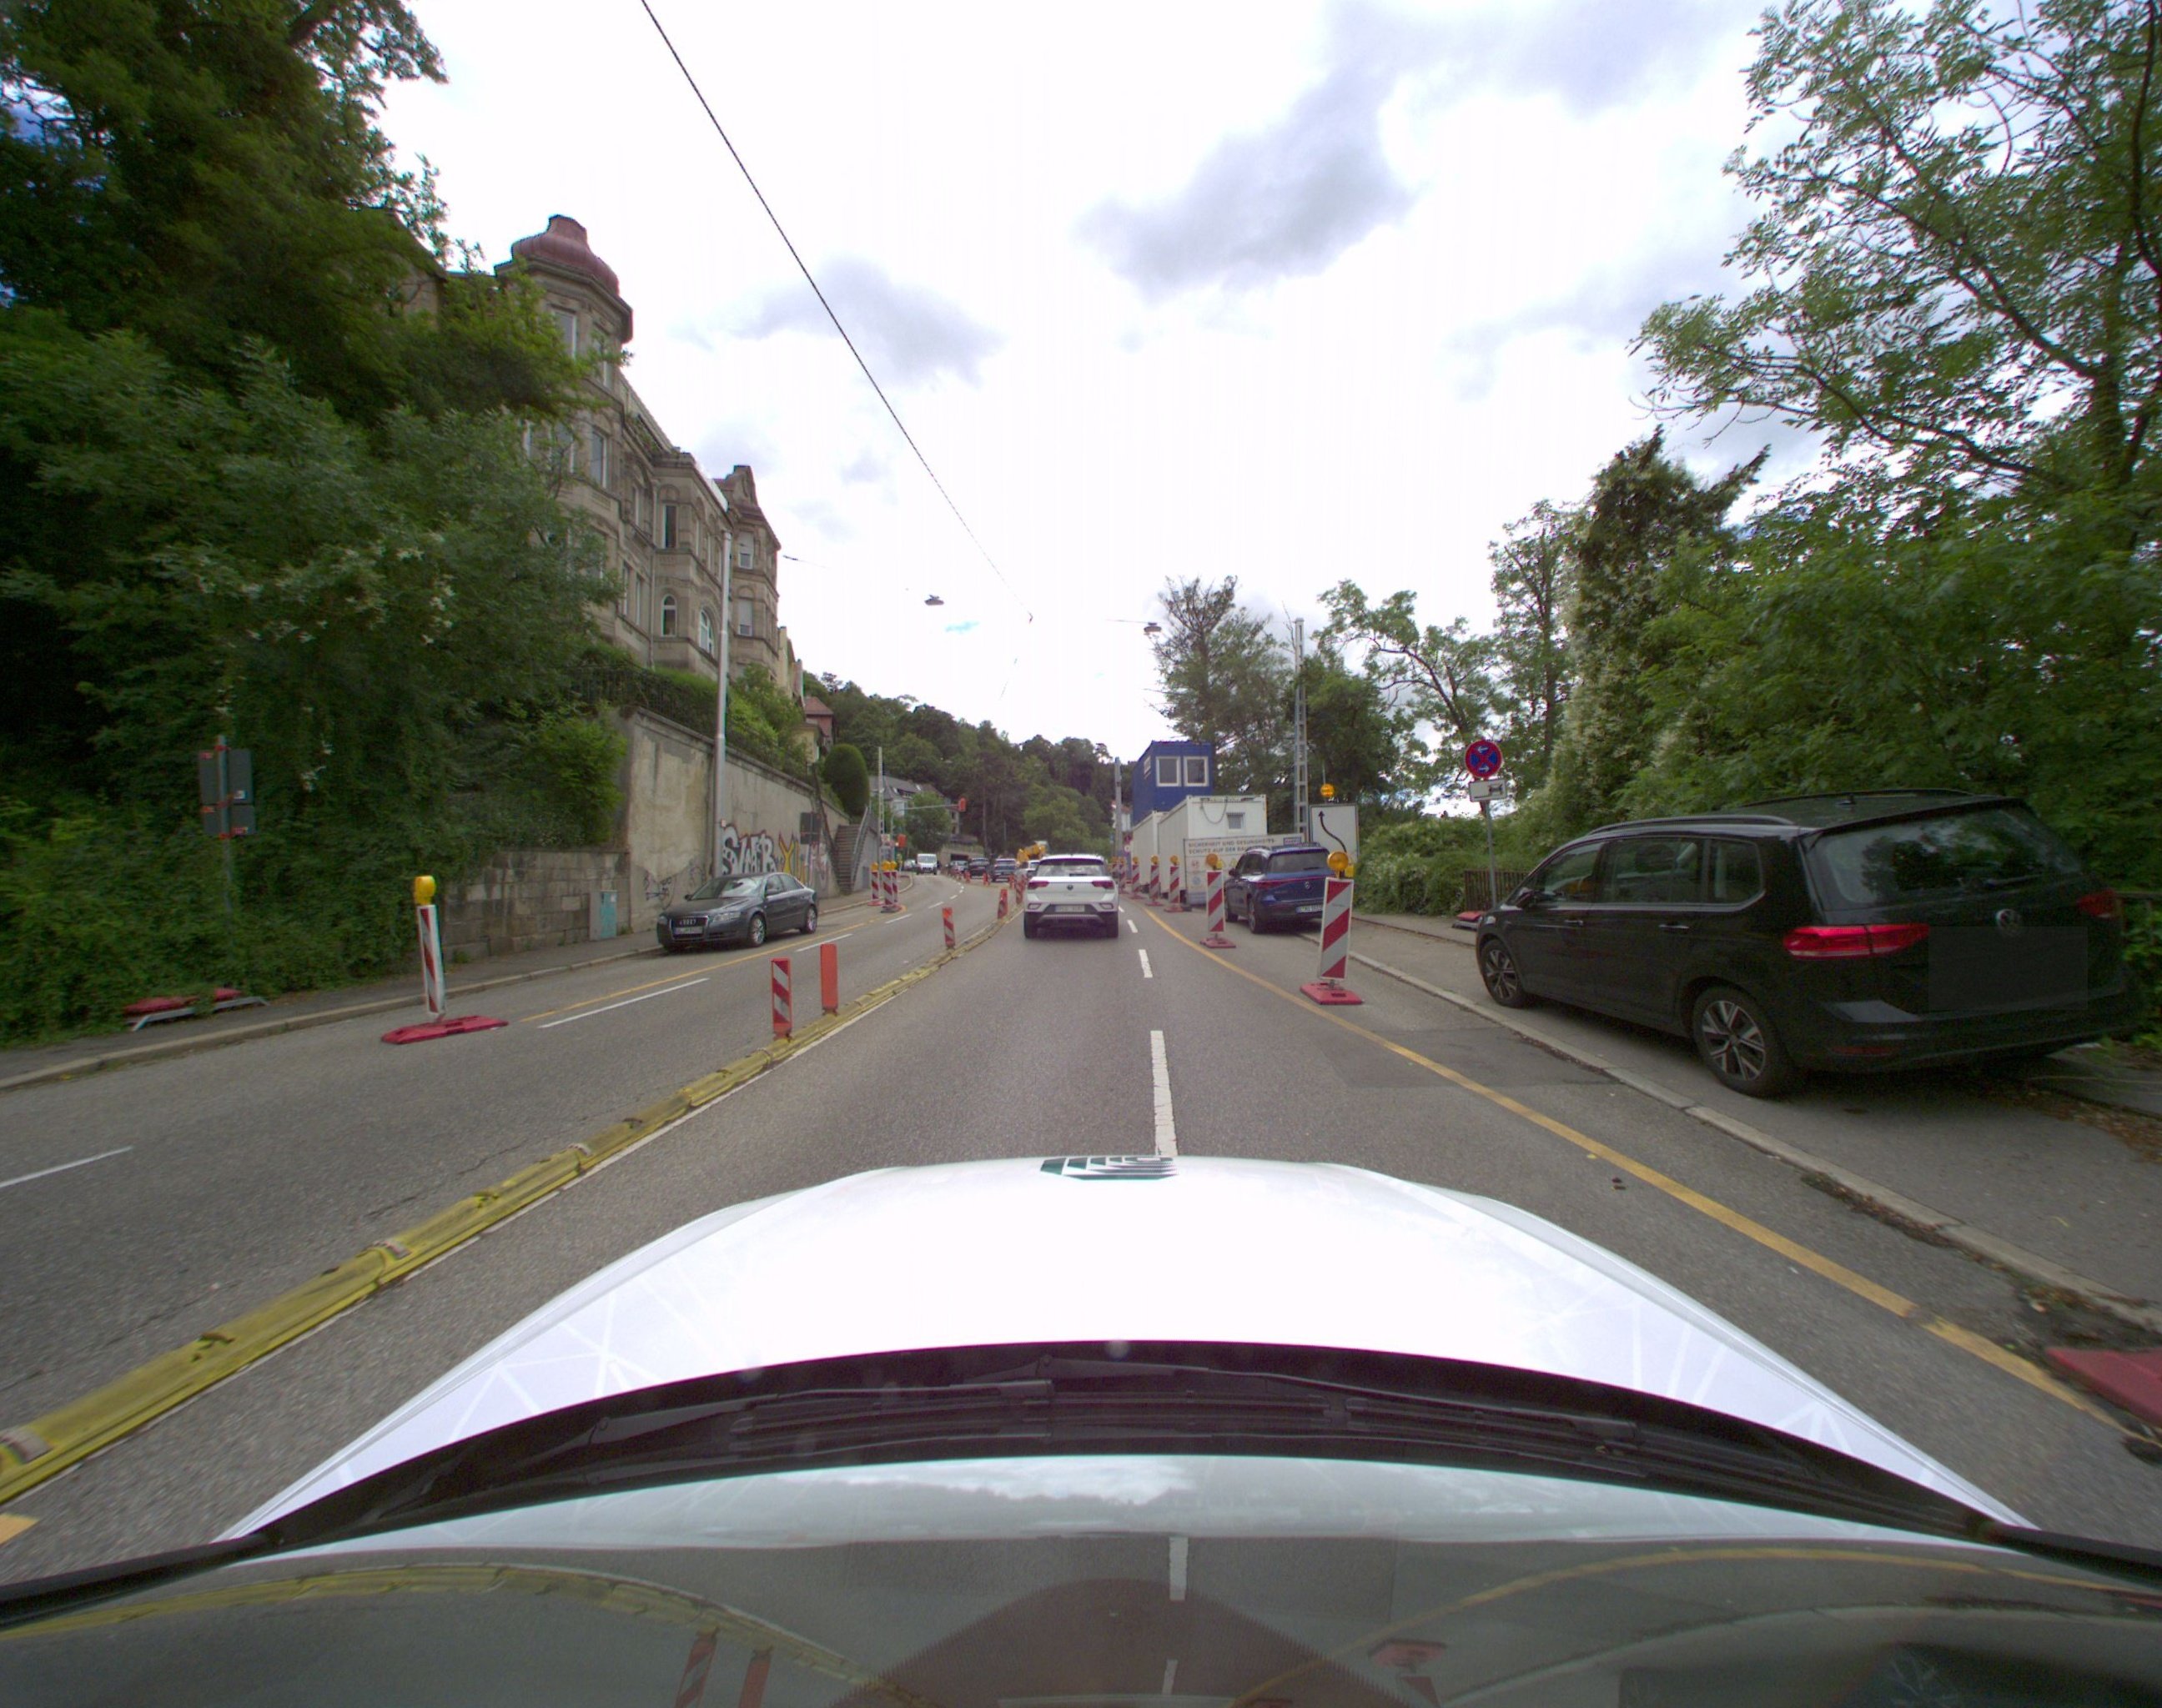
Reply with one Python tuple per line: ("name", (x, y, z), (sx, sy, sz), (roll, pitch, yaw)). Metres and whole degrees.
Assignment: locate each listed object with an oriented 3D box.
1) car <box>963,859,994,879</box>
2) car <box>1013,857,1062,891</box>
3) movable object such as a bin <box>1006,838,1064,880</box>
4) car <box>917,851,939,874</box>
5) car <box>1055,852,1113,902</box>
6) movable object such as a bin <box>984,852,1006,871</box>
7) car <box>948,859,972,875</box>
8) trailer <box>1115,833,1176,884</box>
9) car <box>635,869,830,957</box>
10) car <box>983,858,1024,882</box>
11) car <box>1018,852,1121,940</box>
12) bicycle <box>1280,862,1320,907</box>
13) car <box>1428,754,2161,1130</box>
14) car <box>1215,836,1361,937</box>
("car", (-8.347, 1.217, 65.988), (1.799, 1.510, 3.977), (-3, 0, -17))
("car", (-2.374, 1.049, 43.763), (1.813, 1.663, 3.980), (-1, 0, -15))
("movable object such as a bin", (-3.742, 0.387, 63.823), (2.818, 3.071, 7.777), (1, -1, -17))
("car", (-15.829, 0.892, 84.123), (2.068, 2.187, 4.944), (-2, 0, -11))
("car", (0.040, 0.795, 29.632), (1.806, 1.663, 3.994), (-1, 0, -4))
("movable object such as a bin", (-12.231, 1.011, 116.322), (2.202, 2.663, 4.950), (0, 0, 4))
("car", (-12.114, 1.311, 81.331), (1.799, 1.510, 3.977), (-3, 0, -17))
("trailer", (3.447, 0.237, 44.545), (2.106, 2.550, 5.102), (-2, 0, -9))
("car", (-6.801, 1.078, 16.507), (1.791, 1.373, 4.392), (-3, 0, 3))
("car", (-5.236, 1.048, 54.556), (1.800, 1.510, 3.974), (-1, 0, -19))
("car", (-0.126, 0.755, 16.482), (1.803, 1.531, 4.002), (-1, 0, 2))
("bicycle", (5.829, 0.801, 21.776), (0.497, 1.107, 1.799), (-3, 0, -1))
("car", (4.667, 0.441, 6.345), (1.856, 1.674, 4.646), (-6, 0, 1))
("car", (4.111, 0.600, 16.970), (1.833, 1.642, 4.503), (-5, 0, 1))
